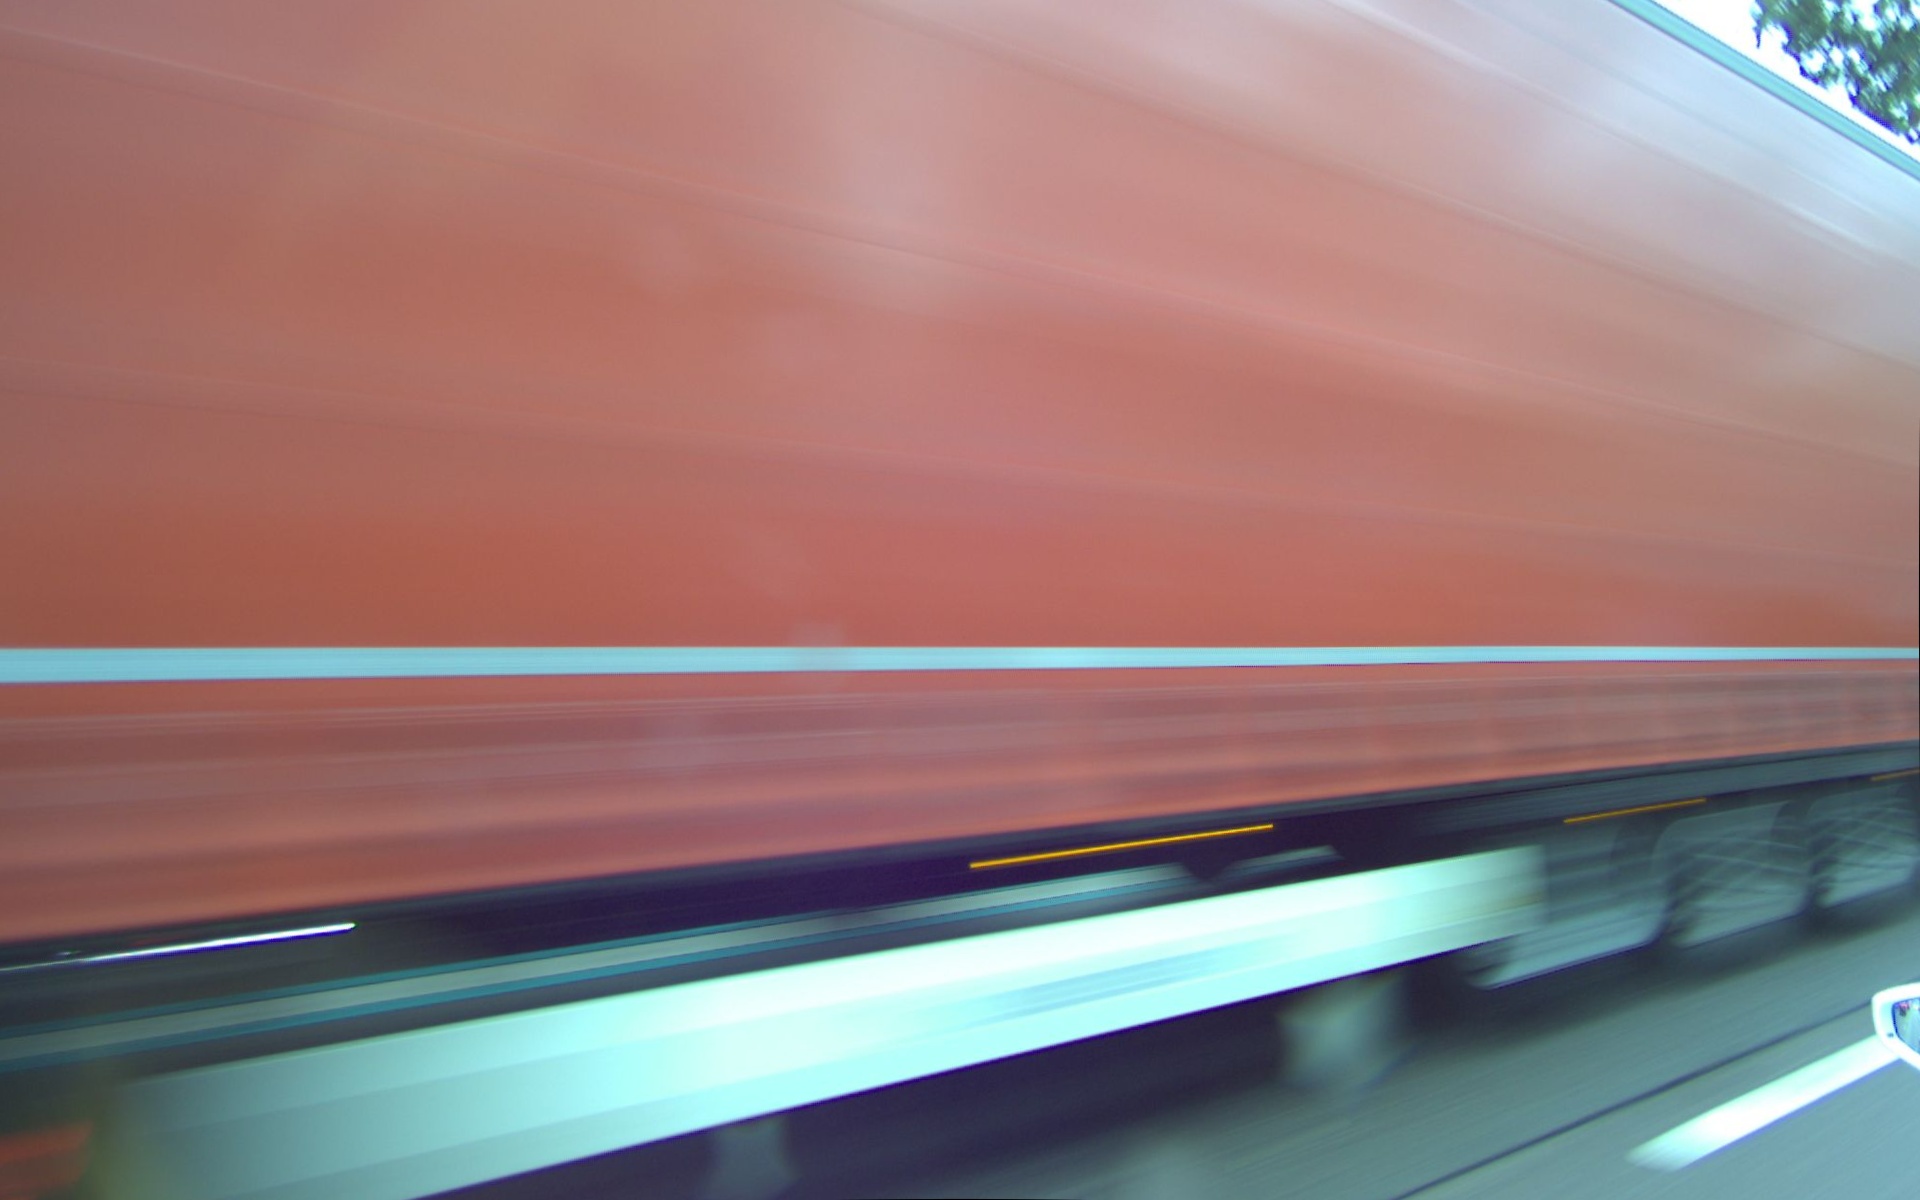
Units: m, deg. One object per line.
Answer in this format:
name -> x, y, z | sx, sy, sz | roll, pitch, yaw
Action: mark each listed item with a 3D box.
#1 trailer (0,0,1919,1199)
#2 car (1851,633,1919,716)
trailer -> 2.042, -0.556, 4.941 | 12.617, 4.314, 2.676 | 1, -3, -30
car -> 20.180, 1.488, 20.566 | 4.183, 1.567, 1.680 | 1, -1, -30
